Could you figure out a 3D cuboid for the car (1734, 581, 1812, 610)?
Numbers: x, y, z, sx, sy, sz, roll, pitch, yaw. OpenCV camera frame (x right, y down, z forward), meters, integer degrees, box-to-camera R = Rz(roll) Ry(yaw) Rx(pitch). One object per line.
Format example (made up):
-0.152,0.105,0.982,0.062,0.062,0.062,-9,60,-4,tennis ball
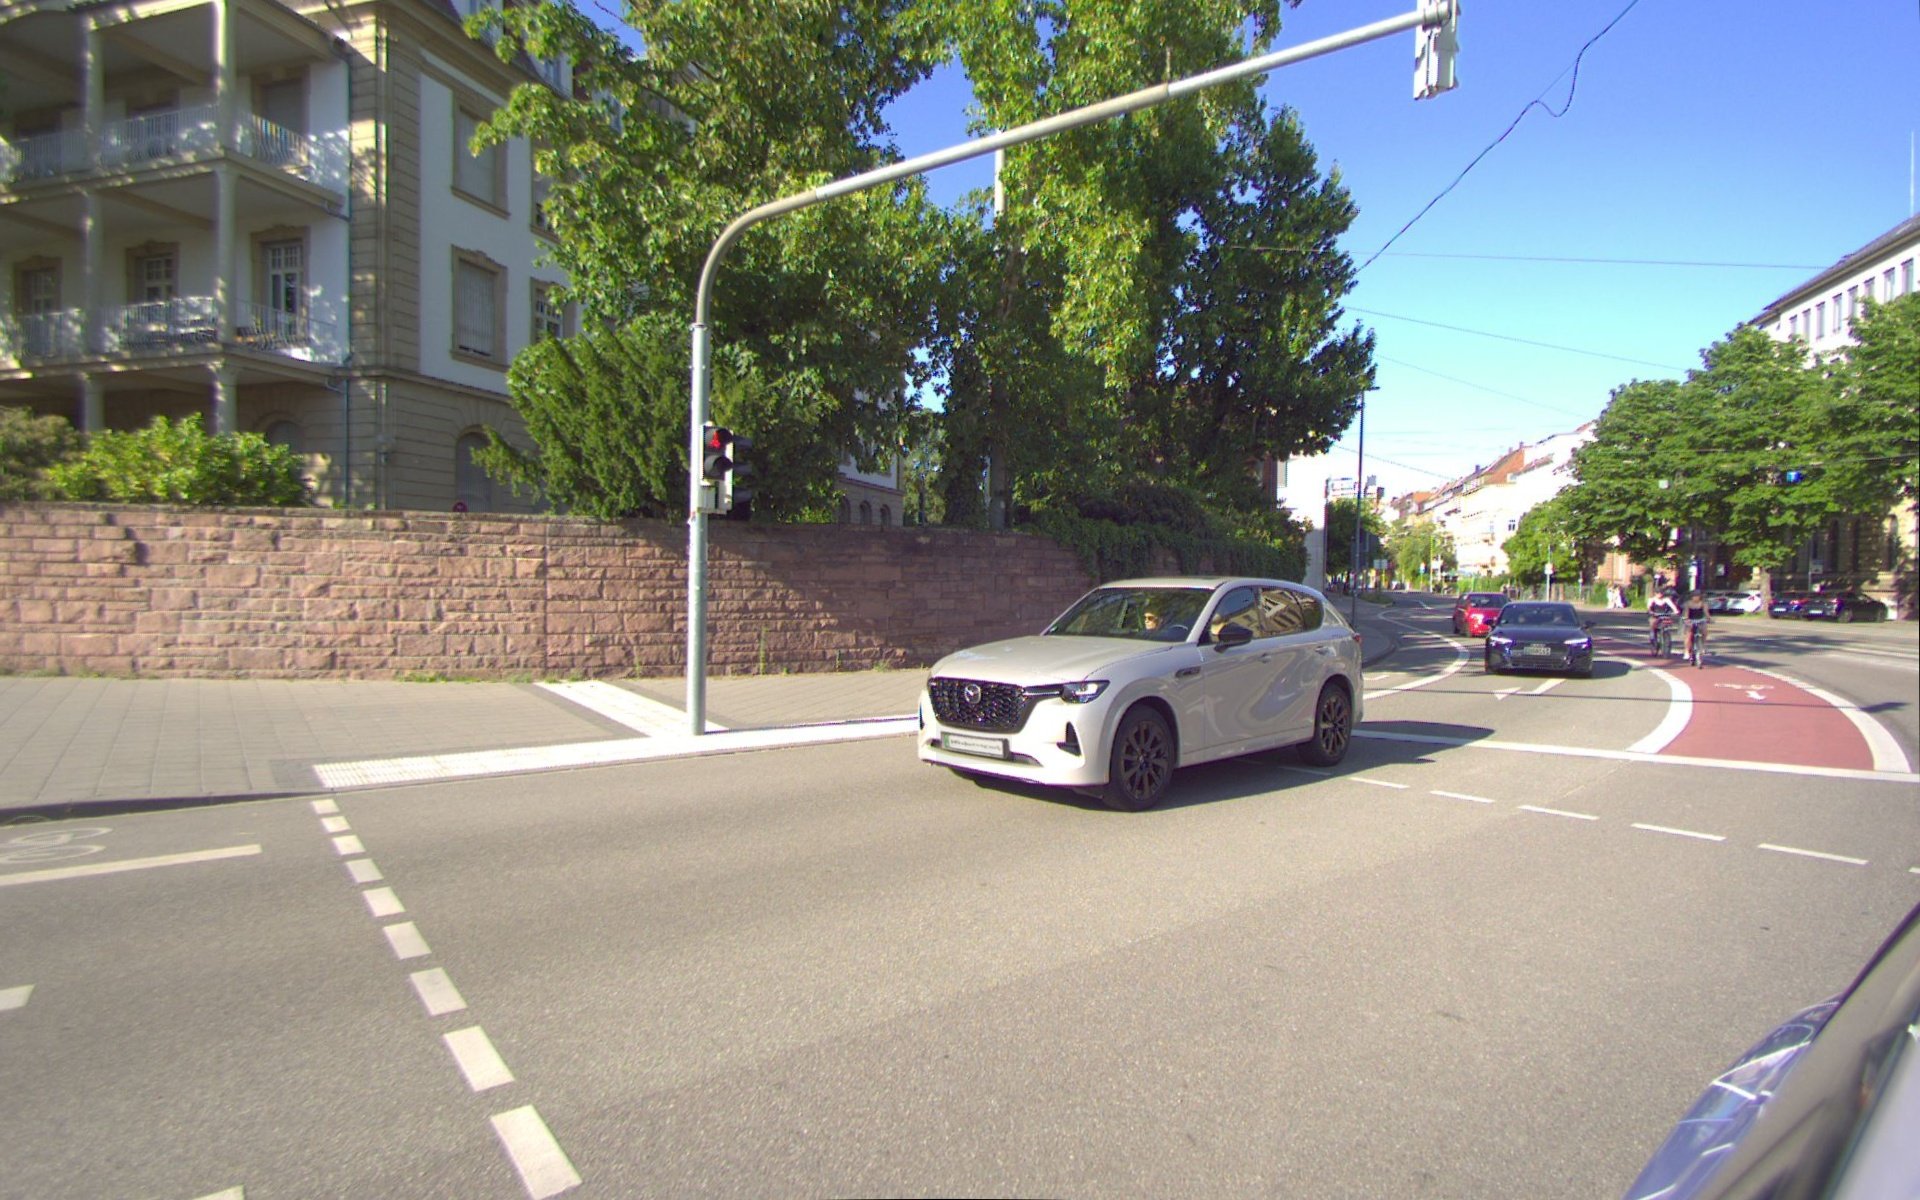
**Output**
45.845,-0.269,57.088,3.573,1.580,1.653,-1,1,-15,car

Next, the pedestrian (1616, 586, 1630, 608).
49.411,-0.231,75.450,0.667,1.668,0.813,1,1,19,pedestrian

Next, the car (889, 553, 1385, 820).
1.726,0.503,8.738,4.456,1.713,1.942,-2,1,-43,car

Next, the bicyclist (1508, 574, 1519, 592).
49.941,-1.533,91.341,0.667,1.667,1.023,1,1,19,bicyclist

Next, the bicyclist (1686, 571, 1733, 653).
15.716,0.234,21.240,0.670,1.667,1.018,2,1,32,bicyclist

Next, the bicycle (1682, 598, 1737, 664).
15.735,0.616,21.289,0.671,1.266,2.430,2,2,31,bicycle

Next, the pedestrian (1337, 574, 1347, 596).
29.631,-1.147,78.441,0.667,1.668,0.813,1,1,19,pedestrian

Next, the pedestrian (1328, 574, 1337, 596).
28.938,-1.159,78.657,0.667,1.668,0.813,1,1,19,pedestrian

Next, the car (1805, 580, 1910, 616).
43.404,-0.118,48.978,4.093,1.651,1.850,-1,1,-15,car

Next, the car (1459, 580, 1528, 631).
17.623,0.161,33.576,1.631,1.580,3.623,-1,1,22,car

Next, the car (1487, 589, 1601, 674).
11.595,0.552,20.108,1.775,1.451,3.957,-1,1,31,car

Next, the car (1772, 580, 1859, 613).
43.753,-0.193,51.785,3.573,1.580,1.653,-1,1,-15,car

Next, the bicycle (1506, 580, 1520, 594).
49.924,-1.174,91.343,0.667,1.266,2.442,1,2,19,bicycle

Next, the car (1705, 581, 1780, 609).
45.989,-0.323,59.522,3.573,1.580,1.653,-1,1,-15,car

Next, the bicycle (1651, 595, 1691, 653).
16.946,0.542,24.153,0.672,1.266,2.427,2,2,34,bicycle

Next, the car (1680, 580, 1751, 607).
46.924,-0.408,62.857,3.573,1.580,1.653,-1,1,-15,car

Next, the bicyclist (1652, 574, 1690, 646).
16.862,0.215,24.009,0.671,1.667,1.017,2,1,34,bicyclist

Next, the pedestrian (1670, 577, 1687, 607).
41.068,-0.467,57.828,0.669,1.668,0.810,1,1,28,pedestrian

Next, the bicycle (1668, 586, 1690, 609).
41.063,-0.151,57.835,0.670,1.266,2.433,1,1,27,bicycle
